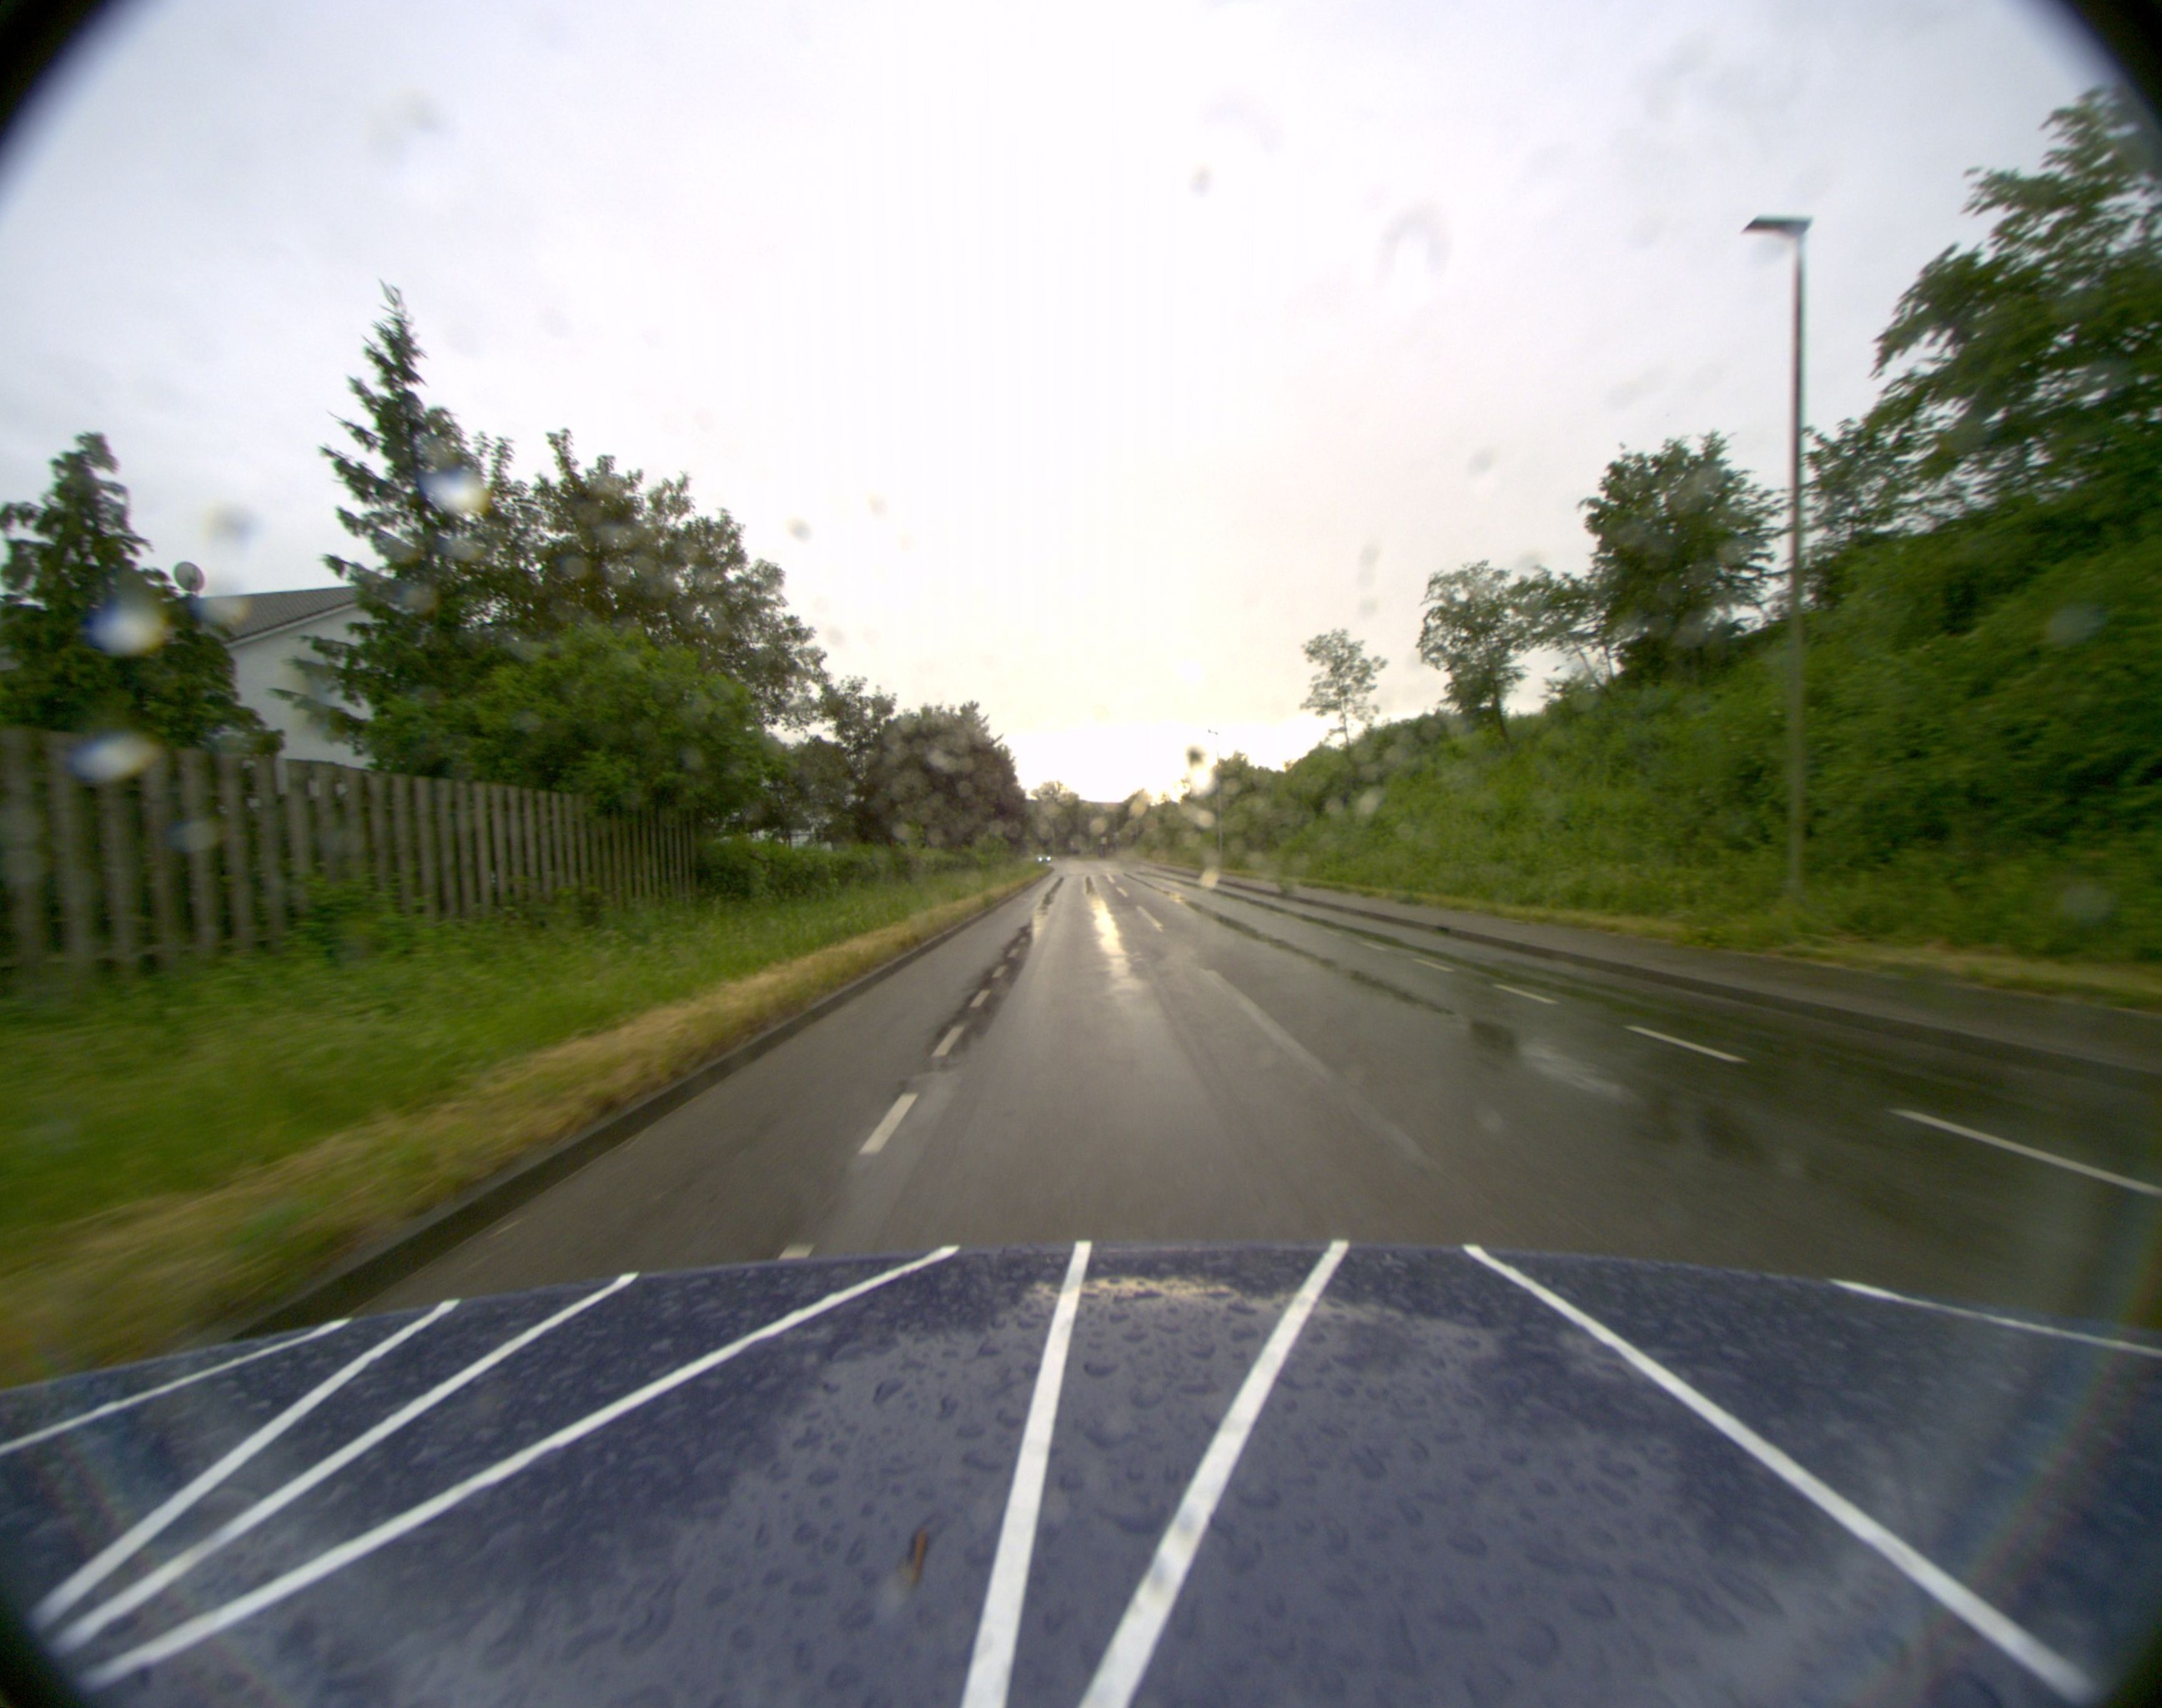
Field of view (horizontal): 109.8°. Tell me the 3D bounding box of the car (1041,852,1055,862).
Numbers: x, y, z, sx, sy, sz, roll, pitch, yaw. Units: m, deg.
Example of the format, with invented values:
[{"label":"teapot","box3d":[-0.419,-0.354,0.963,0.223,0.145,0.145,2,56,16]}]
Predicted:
[{"label":"car","box3d":[-5.383,0.447,123.645,1.881,1.596,3.996,-1,1,-10]}]
